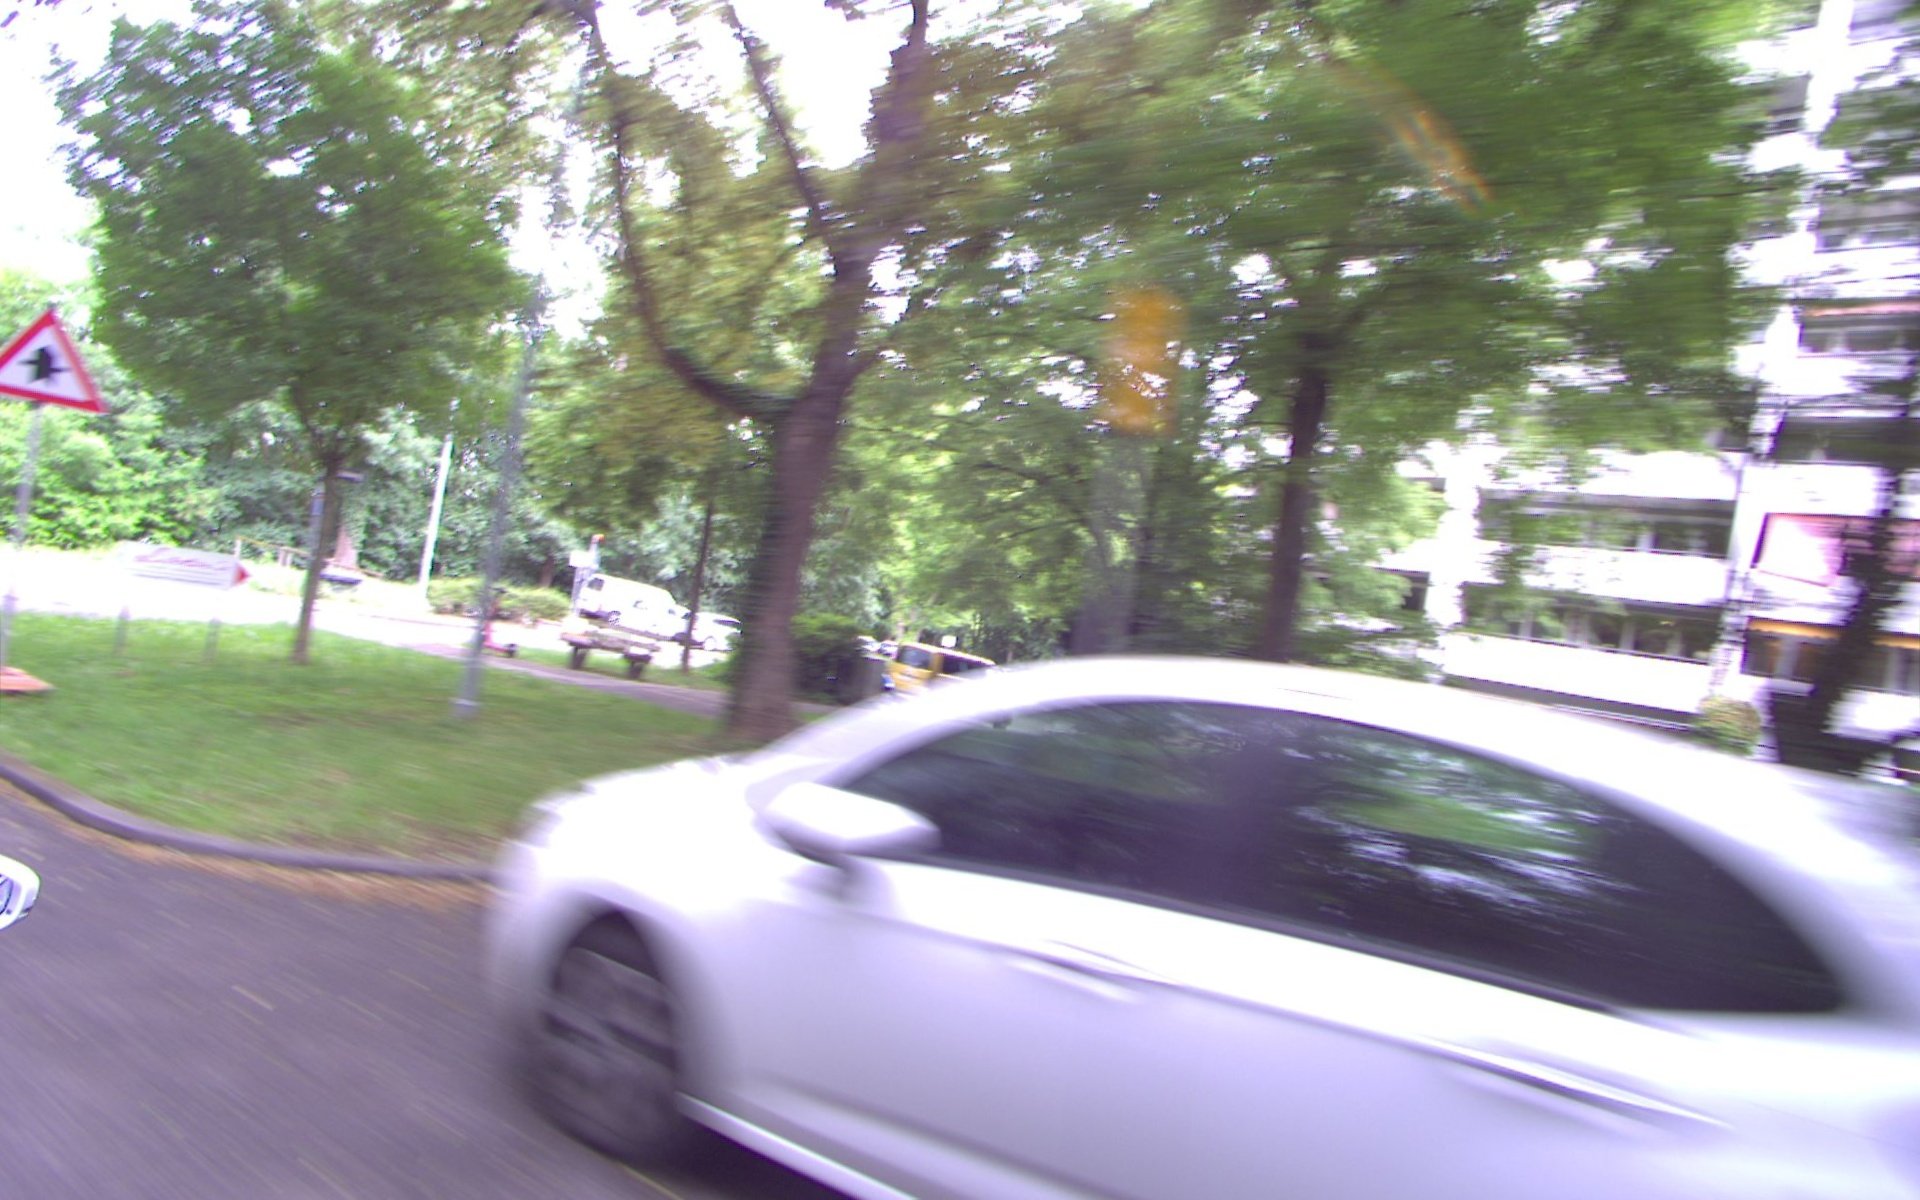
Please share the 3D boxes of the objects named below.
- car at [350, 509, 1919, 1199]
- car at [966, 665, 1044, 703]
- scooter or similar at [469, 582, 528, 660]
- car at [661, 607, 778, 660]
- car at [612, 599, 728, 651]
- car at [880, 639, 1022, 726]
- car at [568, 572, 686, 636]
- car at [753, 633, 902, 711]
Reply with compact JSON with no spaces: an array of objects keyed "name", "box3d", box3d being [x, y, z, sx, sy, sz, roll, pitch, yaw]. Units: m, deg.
[{"name":"car","box3d":[0.319,0.776,2.927,3.715,1.540,1.779,7,-2,28]},{"name":"car","box3d":[2.301,4.255,50.676,1.772,1.515,4.211,6,-3,36]},{"name":"scooter or similar","box3d":[-8.513,0.379,18.535,1.090,1.301,0.283,7,-2,33]},{"name":"car","box3d":[-9.414,1.362,39.686,1.772,1.515,4.211,6,-3,36]},{"name":"car","box3d":[-11.678,1.045,40.743,1.772,1.515,4.211,6,-3,36]},{"name":"car","box3d":[-0.192,2.607,31.231,1.806,1.865,4.407,7,-7,39]},{"name":"car","box3d":[-13.992,0.213,42.485,1.969,2.036,4.211,7,-3,36]},{"name":"car","box3d":[-3.553,1.969,27.296,1.808,1.587,3.514,7,-3,43]}]
